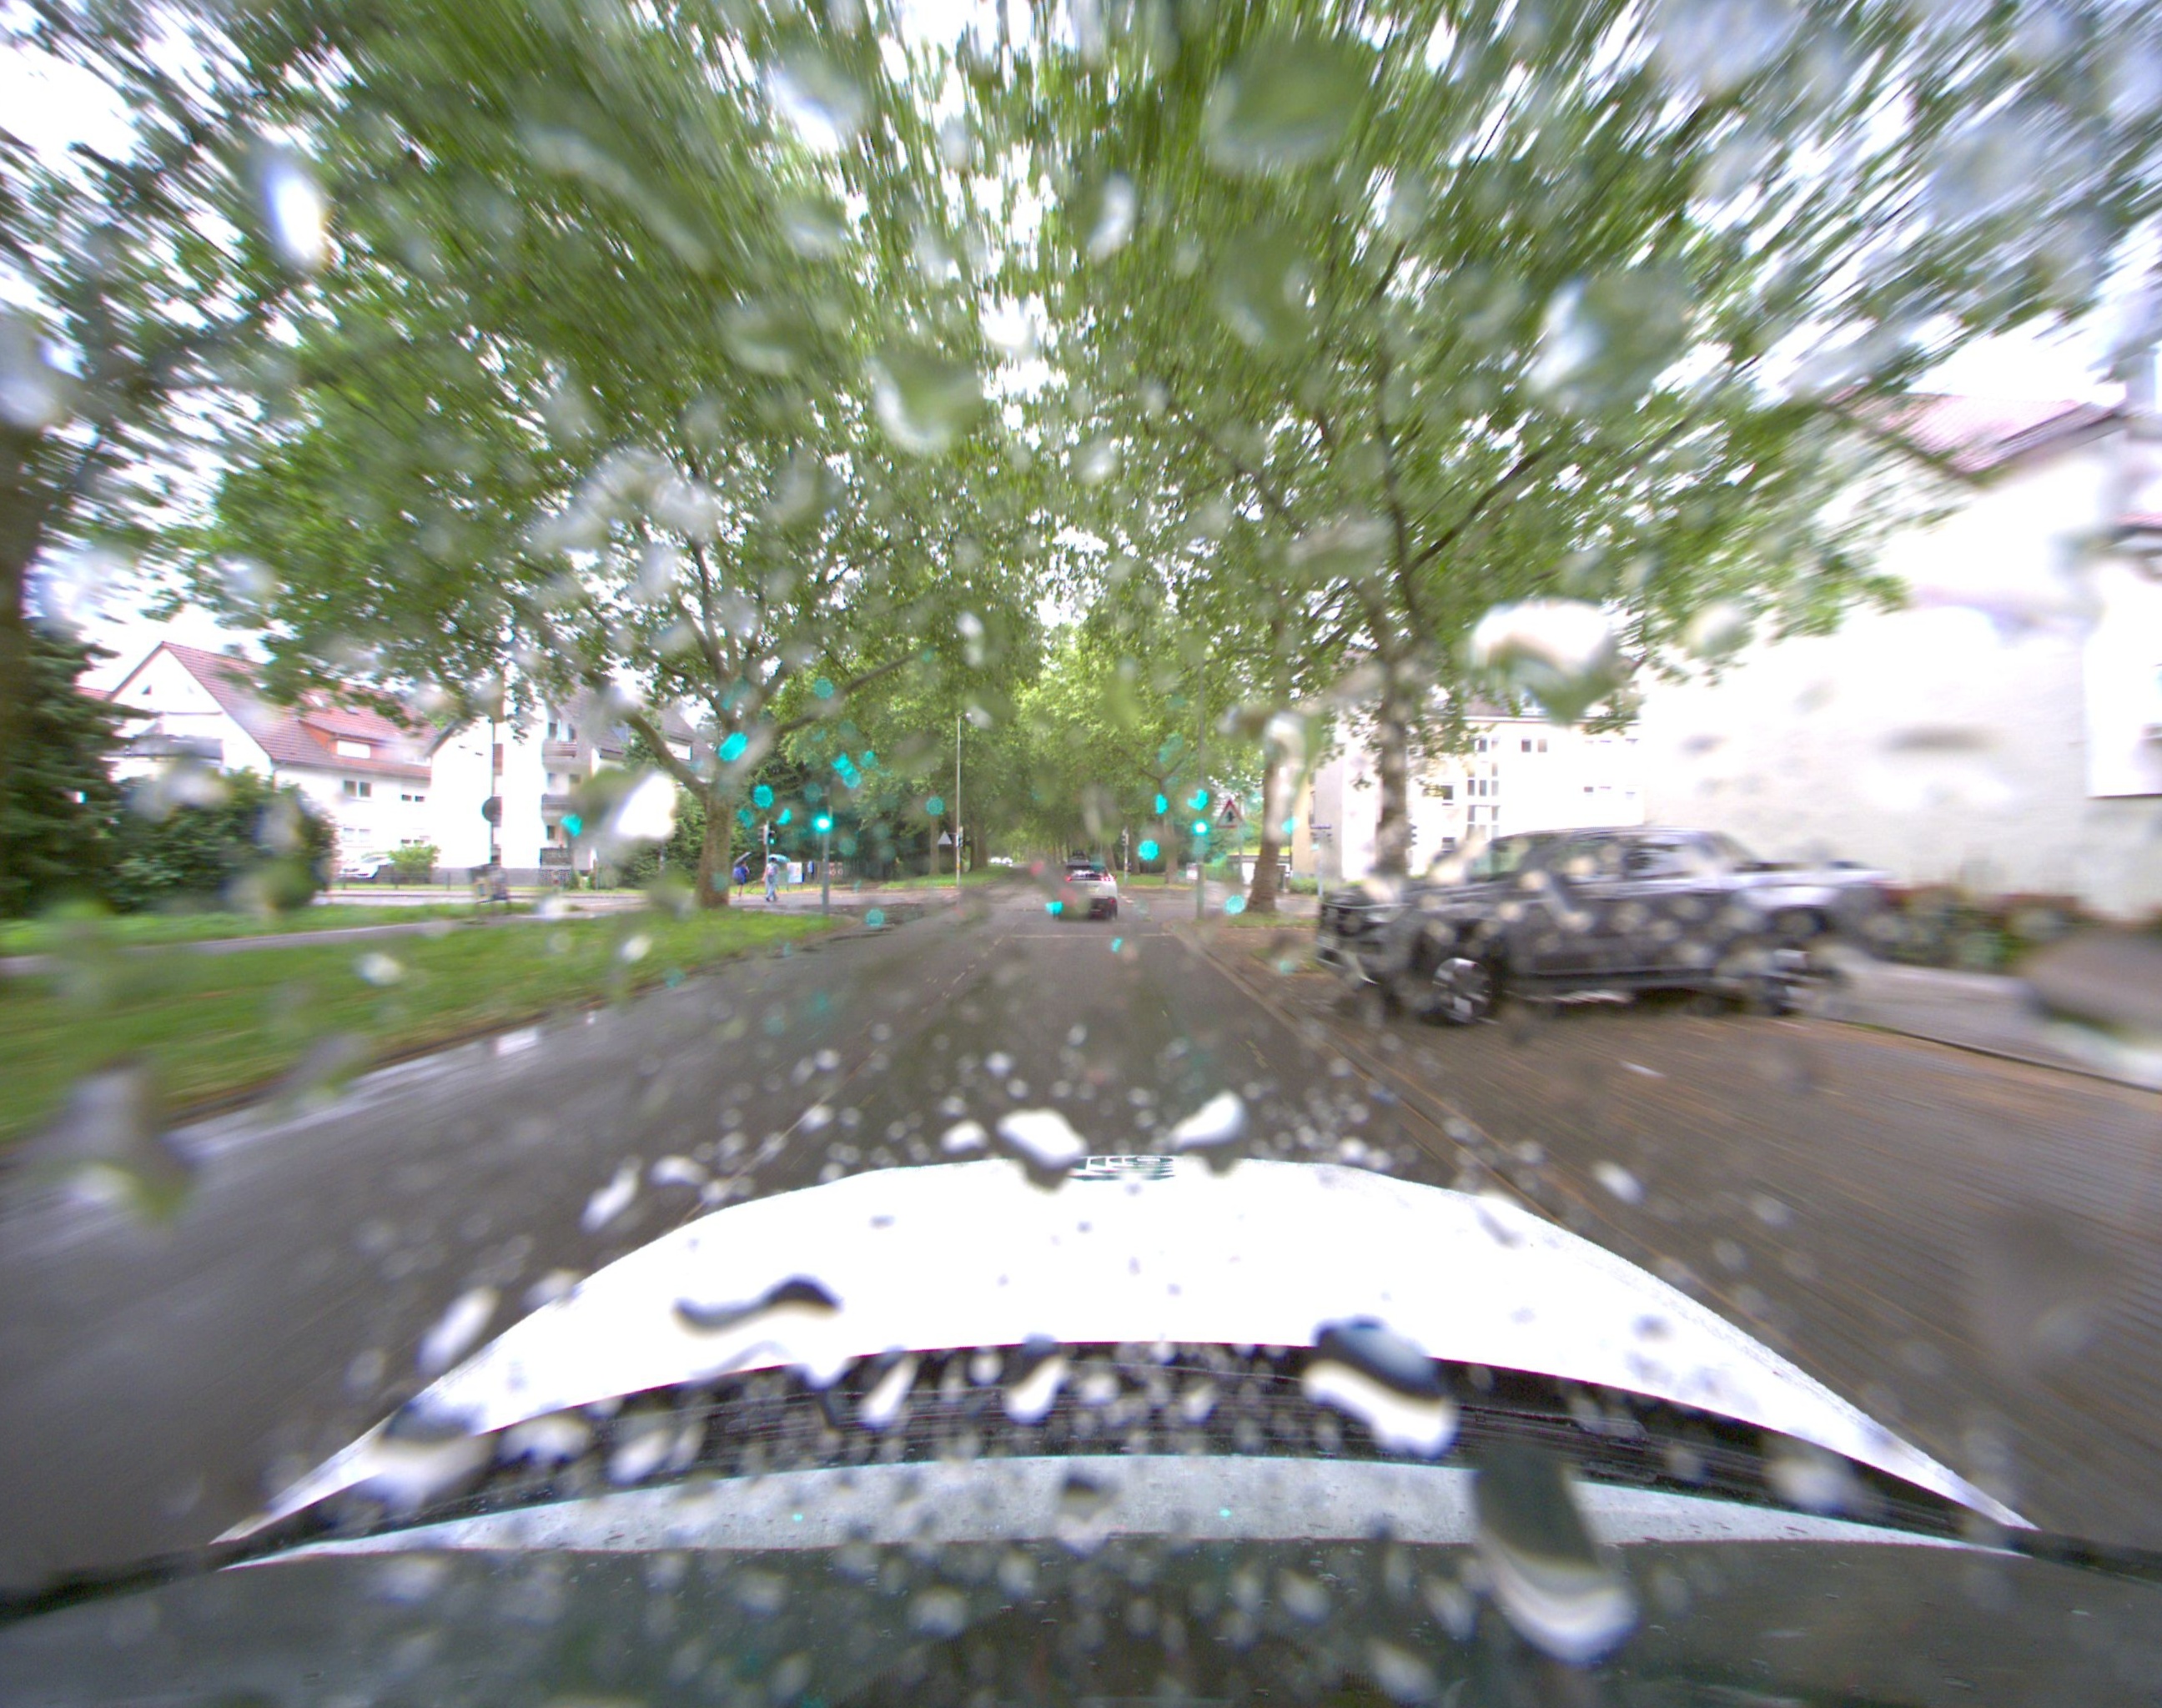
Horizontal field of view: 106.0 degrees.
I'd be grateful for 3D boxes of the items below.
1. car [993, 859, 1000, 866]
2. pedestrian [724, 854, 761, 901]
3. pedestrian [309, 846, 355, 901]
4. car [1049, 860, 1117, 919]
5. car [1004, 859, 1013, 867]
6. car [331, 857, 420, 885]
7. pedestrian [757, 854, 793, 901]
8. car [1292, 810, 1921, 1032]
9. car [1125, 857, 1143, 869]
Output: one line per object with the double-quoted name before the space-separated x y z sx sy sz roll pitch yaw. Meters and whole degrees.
"car" -23.546 2.421 227.268 1.737 2.014 3.660 0 -1 -3
"pedestrian" -12.983 0.882 31.285 1.029 1.765 0.880 -1 0 2
"pedestrian" -23.982 0.626 26.084 0.856 1.744 0.639 0 -1 -1
"car" 0.121 0.946 23.503 1.773 1.536 4.059 -1 -1 2
"car" -16.716 2.060 188.198 1.868 1.677 3.705 0 -1 -2
"car" -38.746 0.913 44.852 1.610 1.446 3.658 -1 -1 2
"pedestrian" -11.749 0.906 31.256 1.029 1.765 0.838 -1 0 2
"car" 5.059 0.577 8.253 5.329 1.807 1.842 -2 -1 -5
"car" 6.708 1.095 103.659 1.900 1.510 3.928 0 -1 -2
